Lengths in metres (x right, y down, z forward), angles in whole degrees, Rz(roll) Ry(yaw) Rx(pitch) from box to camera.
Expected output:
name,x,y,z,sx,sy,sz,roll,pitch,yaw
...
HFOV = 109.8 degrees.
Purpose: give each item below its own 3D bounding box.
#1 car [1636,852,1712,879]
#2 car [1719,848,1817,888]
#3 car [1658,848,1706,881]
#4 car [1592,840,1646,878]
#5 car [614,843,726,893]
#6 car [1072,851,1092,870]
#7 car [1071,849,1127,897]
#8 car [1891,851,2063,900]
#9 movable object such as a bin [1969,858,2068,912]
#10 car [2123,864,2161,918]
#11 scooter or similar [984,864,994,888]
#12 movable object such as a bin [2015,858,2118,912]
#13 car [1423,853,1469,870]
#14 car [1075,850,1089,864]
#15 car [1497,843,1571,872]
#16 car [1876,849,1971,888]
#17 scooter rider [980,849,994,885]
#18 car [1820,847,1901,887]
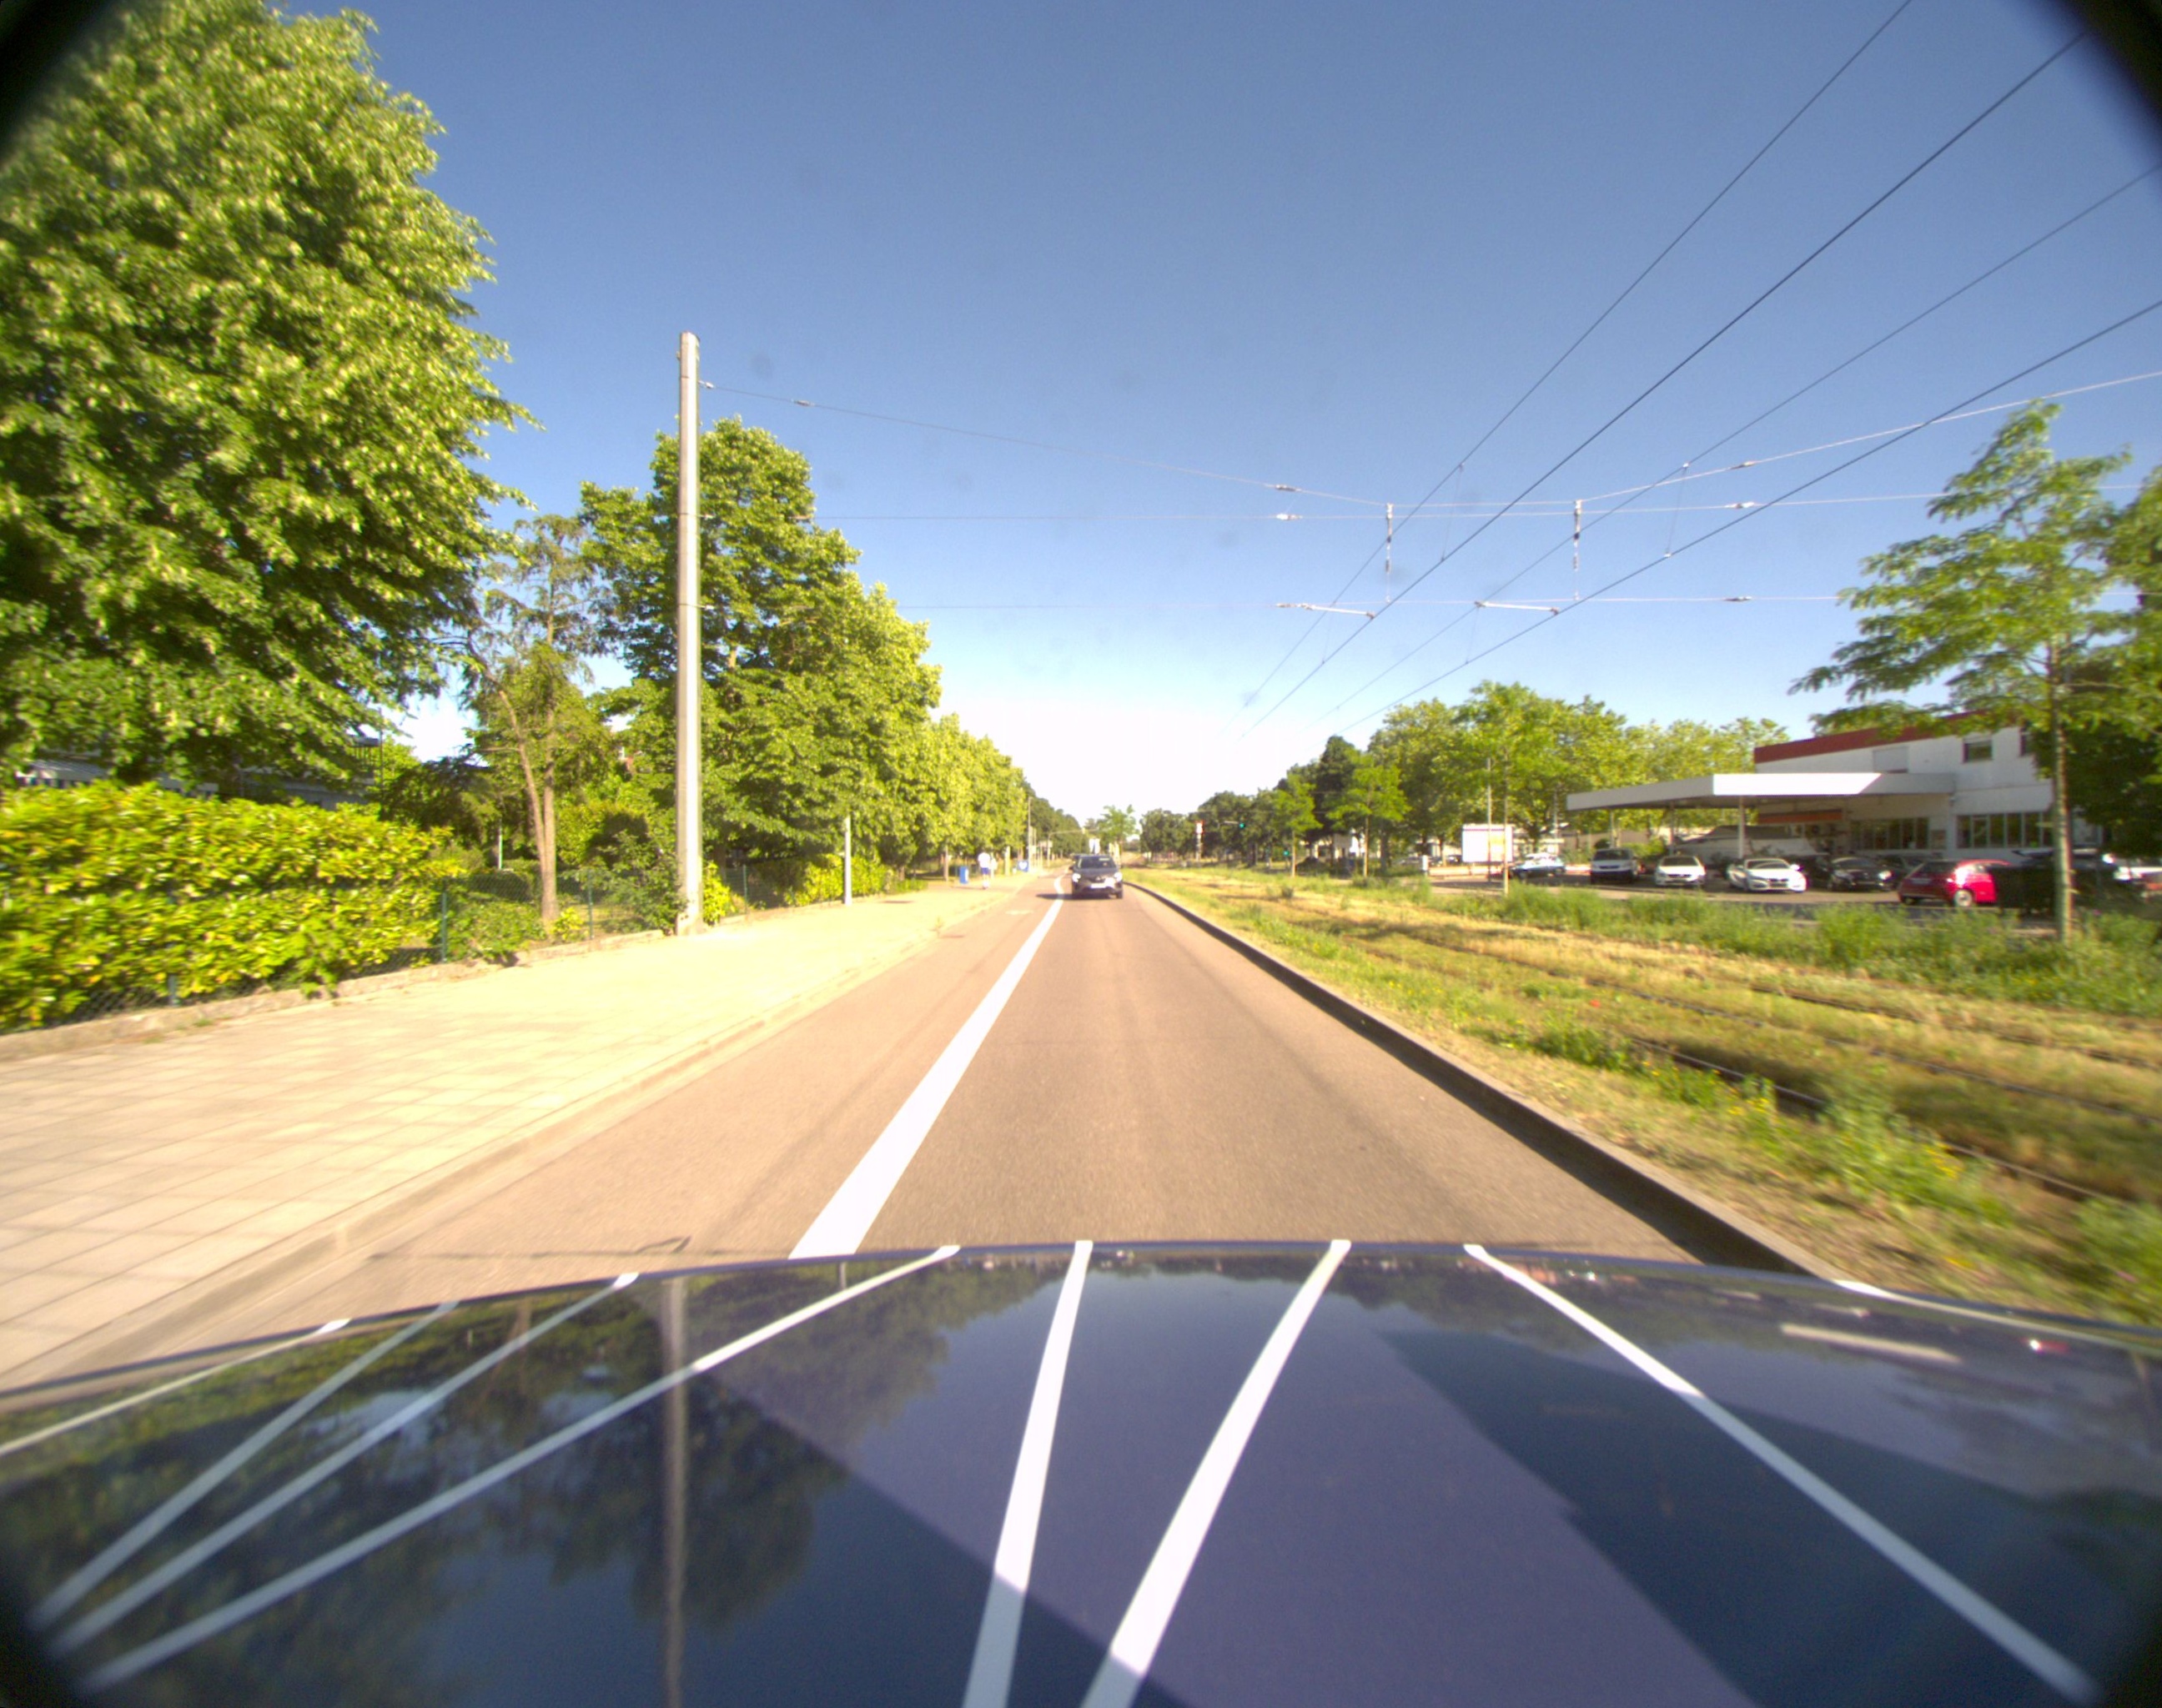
name,x,y,z,sx,sy,sz,roll,pitch,yaw
car,41.000,0.776,52.697,1.998,1.809,4.529,1,0,5
car,29.284,0.544,32.574,2.022,1.499,4.898,1,1,29
car,28.737,0.461,36.423,1.712,1.416,4.466,-1,1,37
car,28.906,0.268,40.783,1.893,1.899,4.821,-1,-1,41
car,-17.289,0.543,32.293,1.877,1.927,4.960,1,0,2
car,0.178,0.680,81.906,1.998,1.824,4.000,-2,1,2
car,0.601,0.638,27.803,1.867,1.614,4.000,-1,0,0
car,28.700,0.668,24.415,3.710,1.503,1.641,1,0,-3
movable object such as a bin,24.572,0.788,19.953,1.227,1.361,1.121,-1,1,-2
car,32.874,1.038,21.689,3.827,1.500,1.705,-1,0,2
scooter or similar,-4.517,1.073,37.238,0.349,1.130,1.208,1,0,0
movable object such as a bin,25.885,0.788,19.986,1.227,1.357,1.121,0,1,-2
car,40.532,0.817,84.438,4.051,1.816,1.999,-2,1,-2
car,0.166,0.417,110.425,1.998,1.824,4.000,-2,1,2
car,31.989,0.234,53.769,3.996,1.846,2.001,-2,0,4
car,35.915,0.593,32.526,2.021,1.541,4.310,1,0,39
scooter rider,-4.617,0.625,37.304,0.552,1.756,0.599,-1,0,0
car,32.170,0.473,31.472,1.845,1.499,3.999,1,2,39
